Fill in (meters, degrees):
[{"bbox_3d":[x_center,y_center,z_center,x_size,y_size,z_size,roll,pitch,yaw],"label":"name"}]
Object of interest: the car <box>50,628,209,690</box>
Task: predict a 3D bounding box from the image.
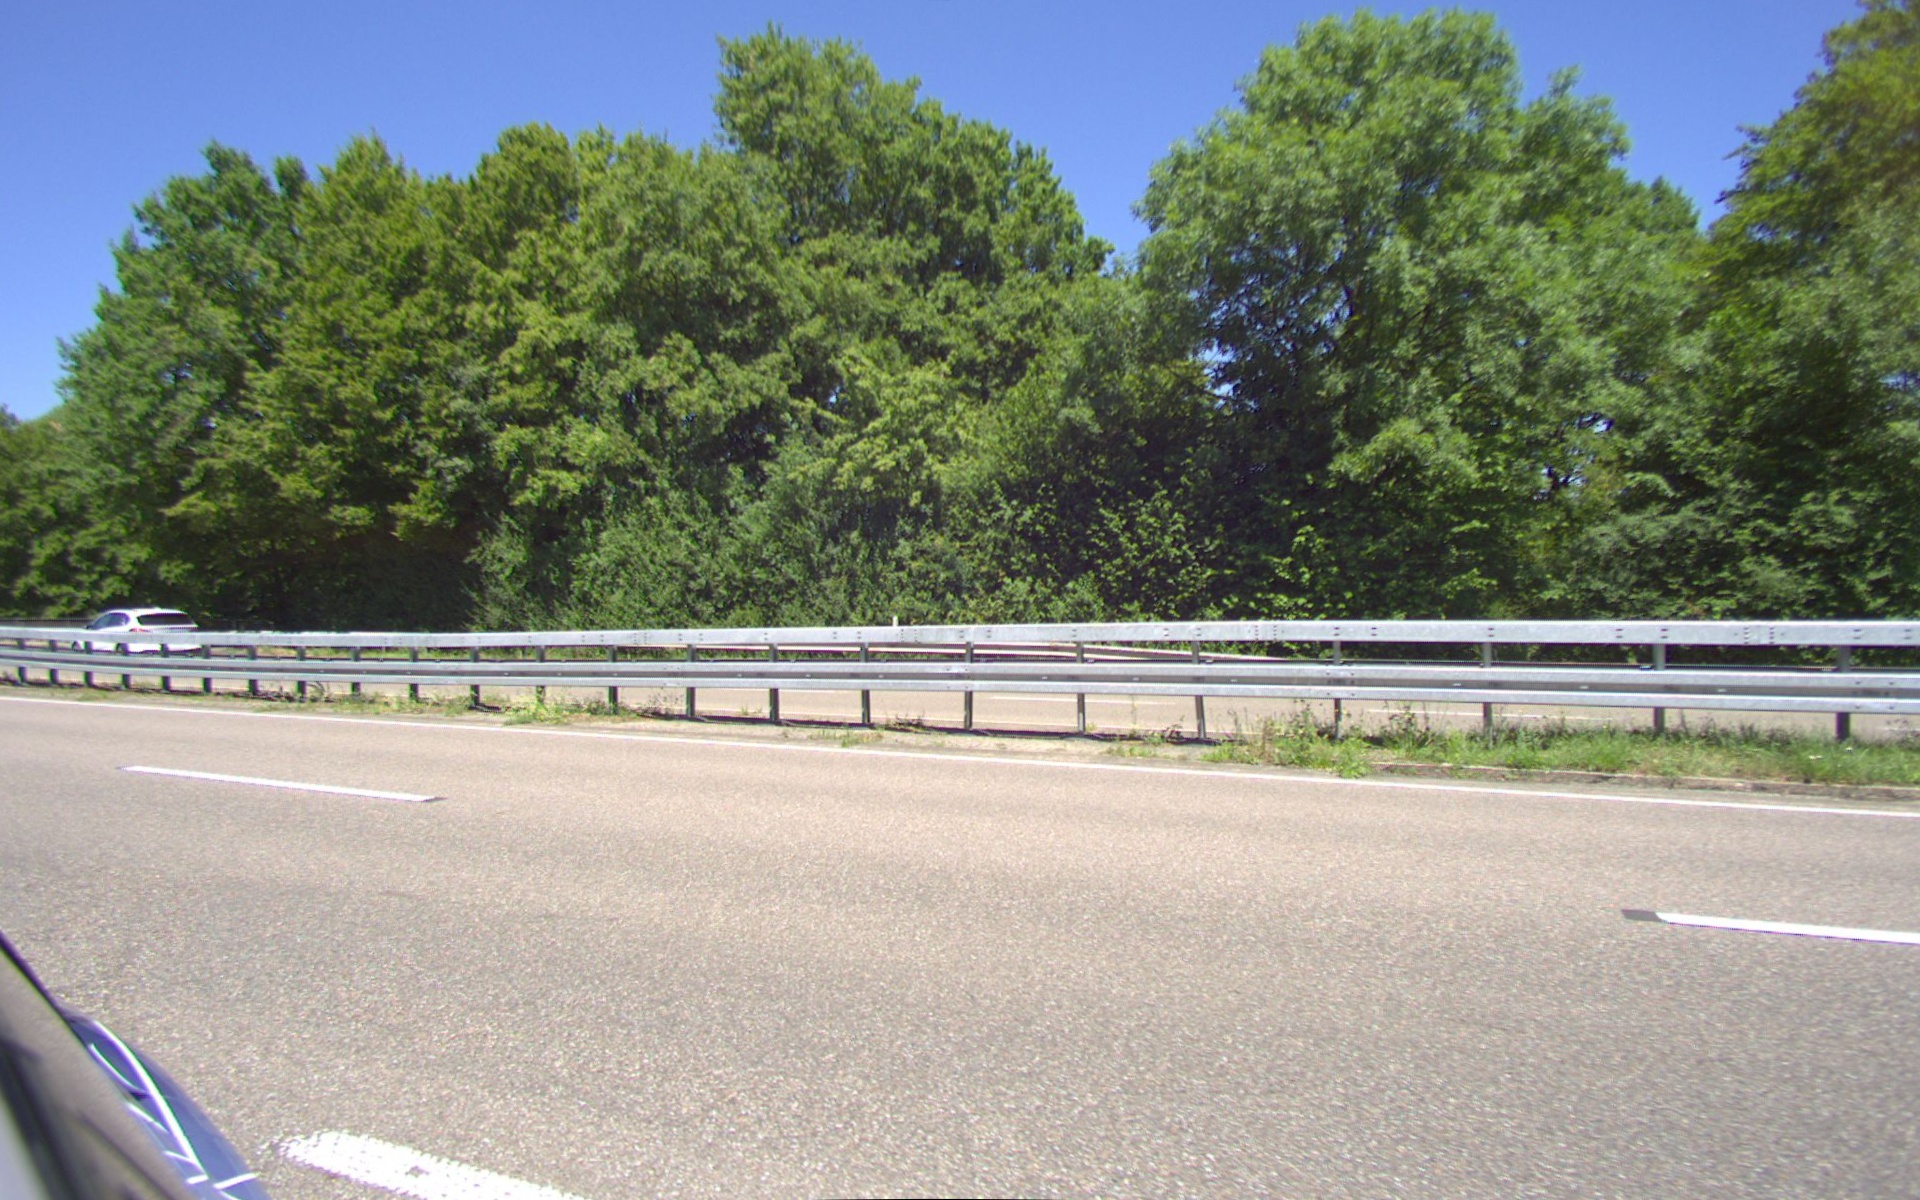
[{"bbox_3d":[-23.147,1.589,28.190,4.389,1.585,1.746,-1,-1,25],"label":"car"}]
